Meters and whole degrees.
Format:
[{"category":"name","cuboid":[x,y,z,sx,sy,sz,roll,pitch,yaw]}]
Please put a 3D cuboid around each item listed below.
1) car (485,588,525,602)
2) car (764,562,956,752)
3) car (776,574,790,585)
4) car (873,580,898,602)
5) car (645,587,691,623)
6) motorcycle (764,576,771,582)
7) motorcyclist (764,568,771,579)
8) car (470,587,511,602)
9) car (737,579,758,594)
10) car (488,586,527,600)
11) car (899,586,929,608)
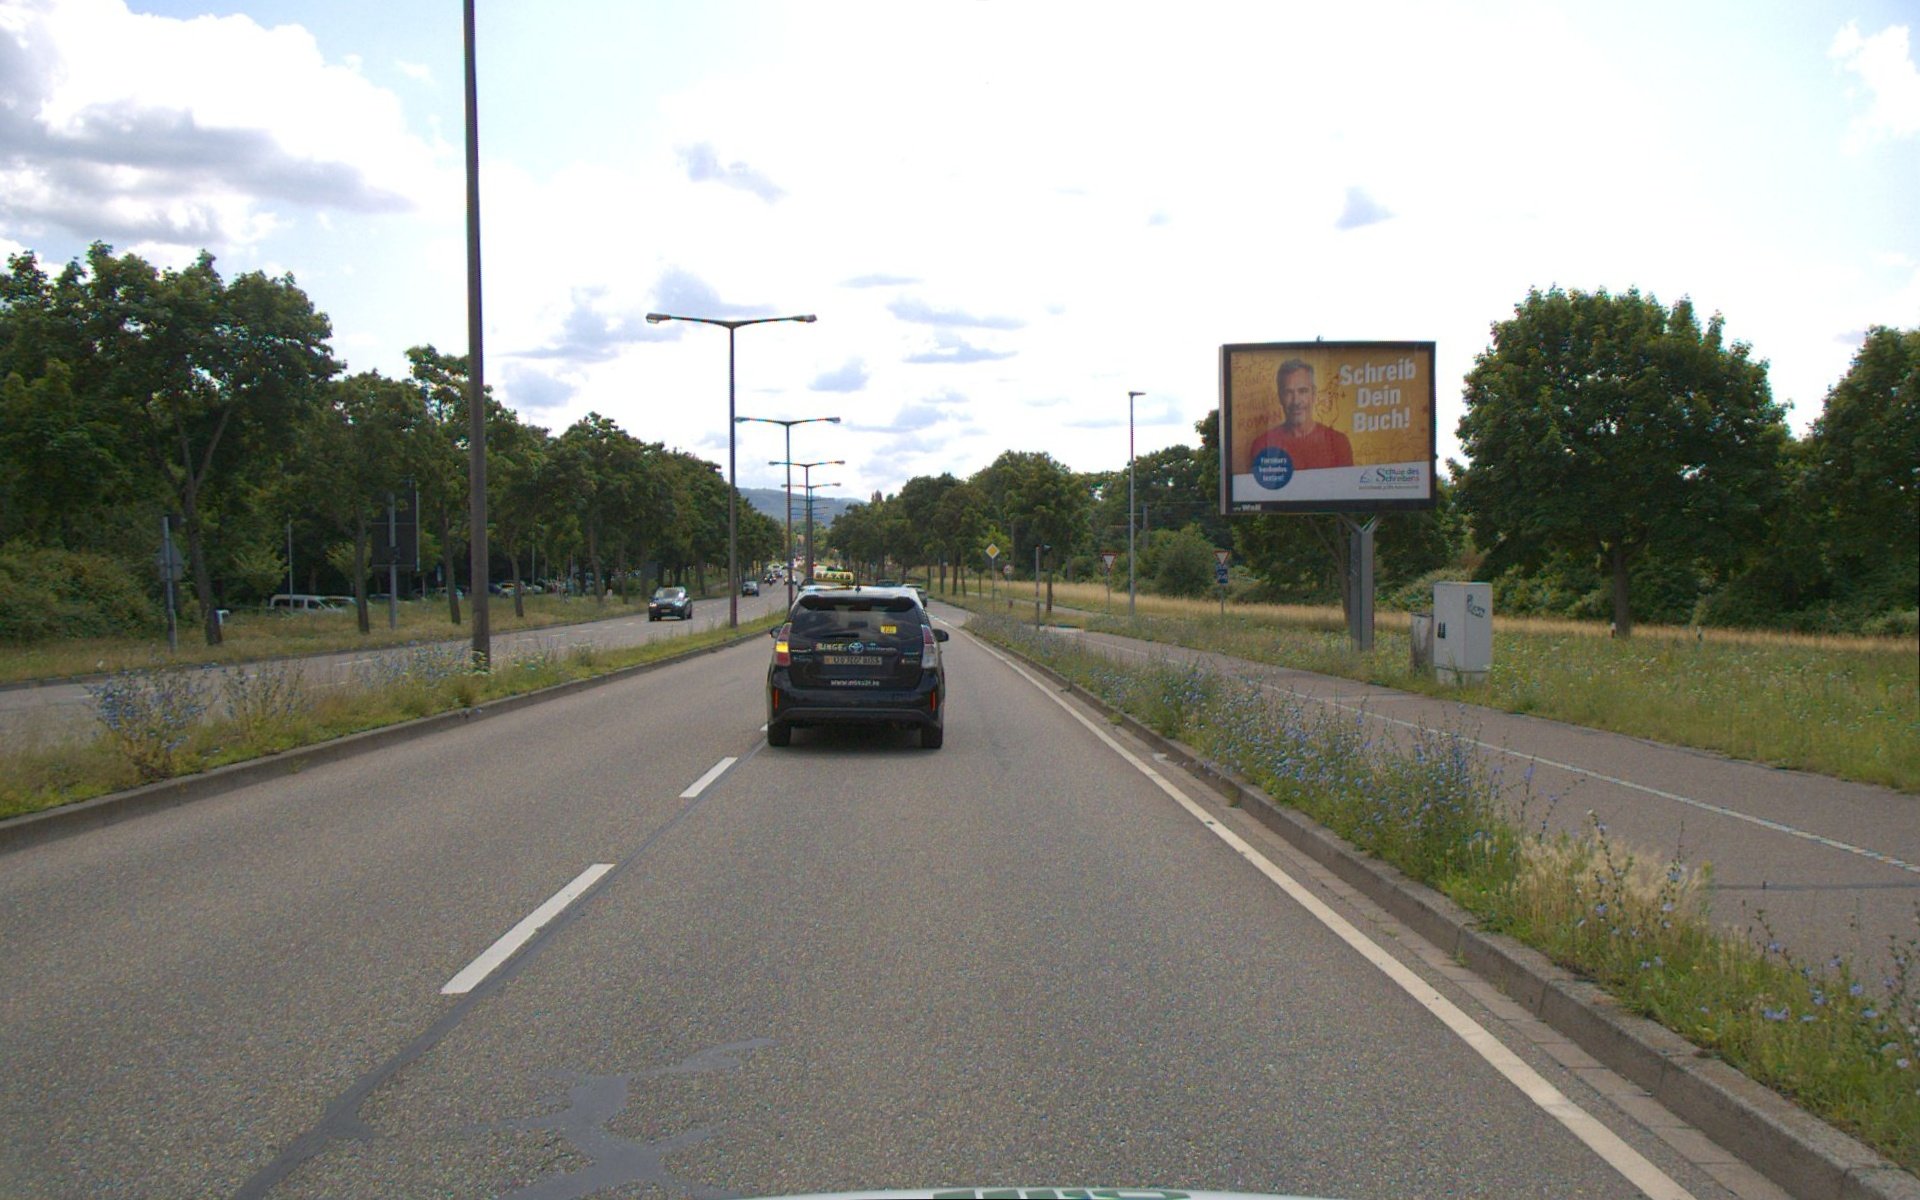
[{"category":"car","cuboid":[-48.058,-0.554,174.716,3.708,1.412,1.785,1,1,-1]},{"category":"car","cuboid":[-1.066,0.484,17.232,1.744,1.713,3.997,1,1,-4]},{"category":"car","cuboid":[-24.610,-2.898,229.949,1.775,1.422,4.730,-1,2,-4]},{"category":"car","cuboid":[-6.165,-0.744,136.461,1.954,1.691,3.998,1,1,-4]},{"category":"car","cuboid":[-15.626,0.249,88.651,1.839,1.821,4.725,-2,0,-4]},{"category":"motorcycle","cuboid":[-26.312,-2.933,226.167,0.737,0.785,2.670,1,1,-4]},{"category":"motorcyclist","cuboid":[-26.292,-3.616,226.110,0.810,1.438,1.327,1,1,-4]},{"category":"car","cuboid":[-48.317,-0.539,170.356,3.708,1.412,1.785,1,1,-1]},{"category":"car","cuboid":[-20.708,-1.322,161.254,1.672,1.452,3.663,-1,0,-13]},{"category":"car","cuboid":[-49.298,-0.766,180.312,3.708,1.412,1.785,1,1,-1]},{"category":"car","cuboid":[-3.456,-0.247,123.187,1.955,1.534,3.995,1,1,-6]}]
